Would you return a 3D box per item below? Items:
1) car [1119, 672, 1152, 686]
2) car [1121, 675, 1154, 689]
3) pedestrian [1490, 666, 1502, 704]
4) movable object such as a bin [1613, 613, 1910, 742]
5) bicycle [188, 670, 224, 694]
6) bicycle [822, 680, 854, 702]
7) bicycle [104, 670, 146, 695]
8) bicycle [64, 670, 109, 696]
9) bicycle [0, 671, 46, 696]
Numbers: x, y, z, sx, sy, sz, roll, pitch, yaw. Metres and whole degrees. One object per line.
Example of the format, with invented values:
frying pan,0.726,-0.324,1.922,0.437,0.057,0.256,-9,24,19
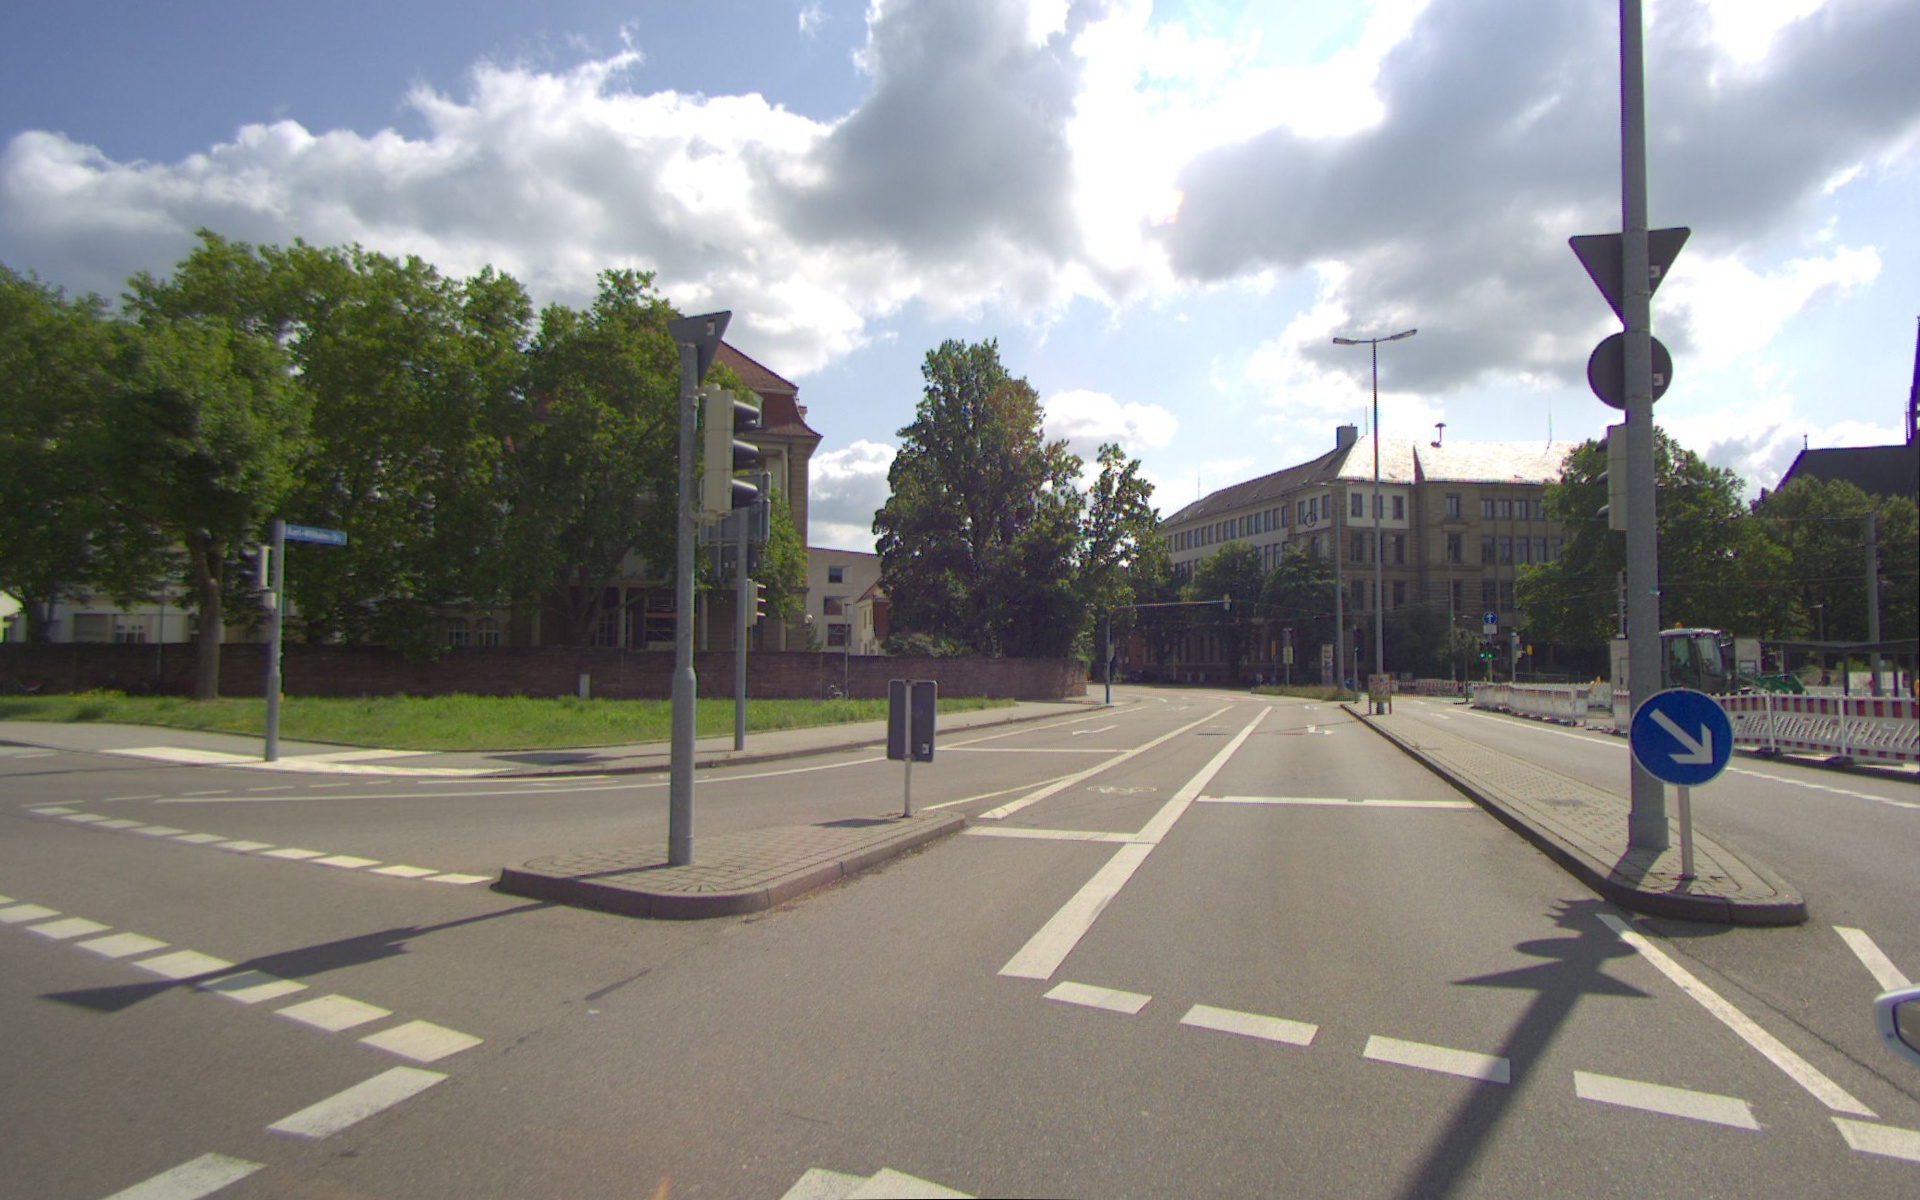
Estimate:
car,21.485,9.648,122.925,3.919,1.705,1.805,0,-3,13
car,22.183,10.232,125.562,3.919,1.705,1.805,0,-3,13
pedestrian,26.456,4.181,49.553,0.490,1.874,0.528,-1,-4,29
movable object such as a bin,20.280,1.935,25.798,2.256,2.922,5.512,2,-4,-24
bicycle,-31.543,3.429,42.029,1.230,1.024,0.353,0,-3,1
bicycle,-5.859,4.362,48.270,1.503,1.004,0.392,2,-4,-27
bicycle,-34.621,3.432,41.653,1.343,1.024,0.392,0,-3,1
bicycle,-36.135,3.433,41.564,1.427,1.024,0.472,0,-3,1
bicycle,-38.833,3.434,41.344,1.925,1.024,0.472,0,-3,1
